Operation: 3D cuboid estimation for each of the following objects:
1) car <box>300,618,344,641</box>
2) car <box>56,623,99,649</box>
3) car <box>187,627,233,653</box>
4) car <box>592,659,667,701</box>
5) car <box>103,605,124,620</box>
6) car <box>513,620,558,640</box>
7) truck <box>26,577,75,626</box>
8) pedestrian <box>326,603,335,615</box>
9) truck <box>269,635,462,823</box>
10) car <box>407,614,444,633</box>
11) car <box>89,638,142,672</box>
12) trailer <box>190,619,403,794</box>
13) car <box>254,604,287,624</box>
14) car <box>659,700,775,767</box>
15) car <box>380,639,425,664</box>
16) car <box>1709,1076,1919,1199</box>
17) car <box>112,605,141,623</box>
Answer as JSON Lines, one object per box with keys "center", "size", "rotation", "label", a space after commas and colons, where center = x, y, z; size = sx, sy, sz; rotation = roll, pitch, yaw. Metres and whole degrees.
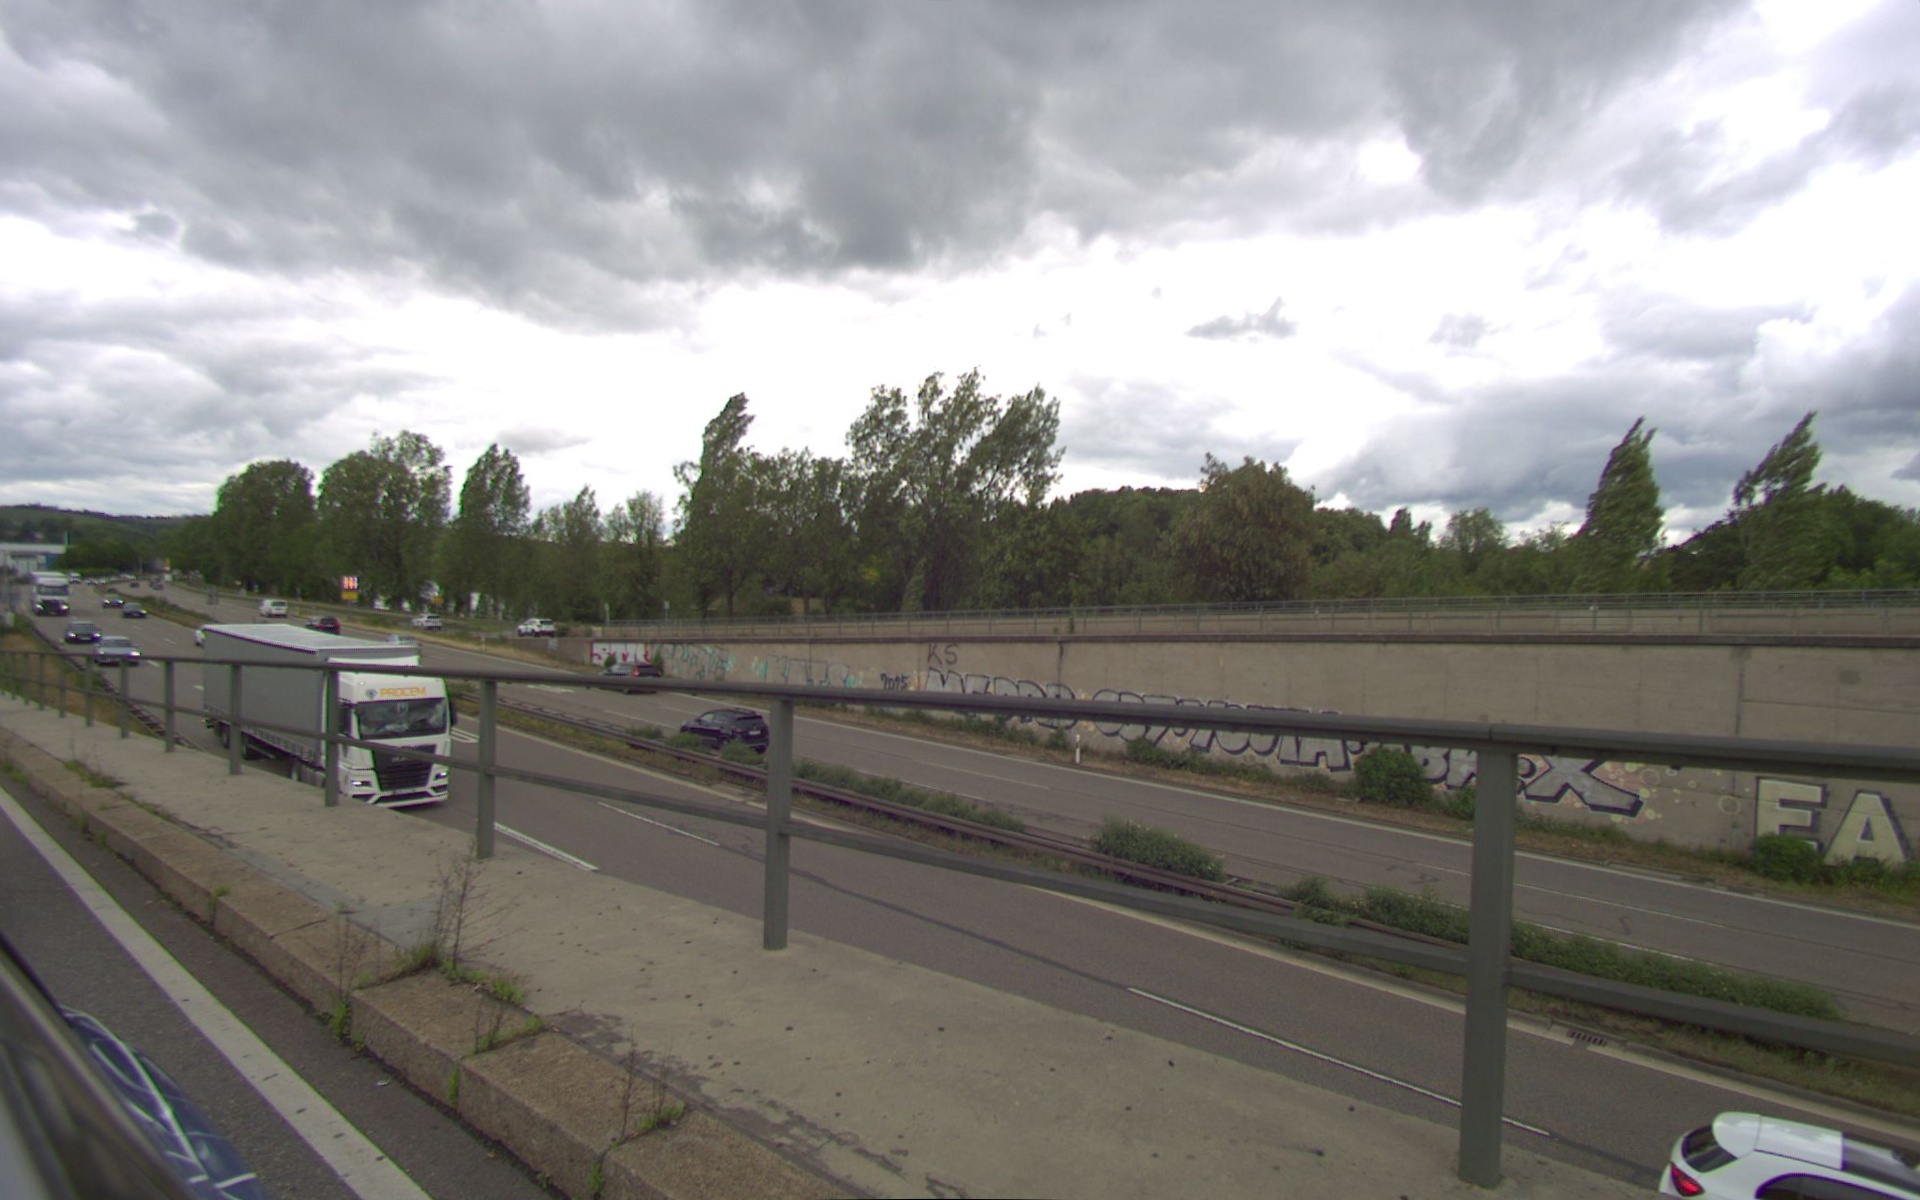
{"center": [-55.251, 2.524, 87.628], "size": [4.550, 1.751, 1.896], "rotation": [2, 0, 40], "label": "car"}
{"center": [-62.601, 2.521, 71.776], "size": [4.166, 1.619, 1.834], "rotation": [2, 1, 43], "label": "car"}
{"center": [-53.705, 2.871, 72.423], "size": [4.166, 1.619, 1.834], "rotation": [2, -2, 43], "label": "car"}
{"center": [-18.176, 4.367, 55.553], "size": [4.408, 1.855, 1.911], "rotation": [2, 1, 41], "label": "car"}
{"center": [-103.060, 1.482, 123.207], "size": [1.832, 1.619, 4.171], "rotation": [1, 1, -42], "label": "car"}
{"center": [-34.975, 2.452, 83.372], "size": [4.346, 1.588, 1.812], "rotation": [-2, -1, 43], "label": "car"}
{"center": [-93.193, 0.053, 103.624], "size": [11.131, 4.559, 3.136], "rotation": [3, 1, 45], "label": "truck"}
{"center": [-92.905, 1.305, 149.345], "size": [1.078, 1.718, 0.820], "rotation": [3, 2, 43], "label": "pedestrian"}
{"center": [-16.715, 3.301, 28.257], "size": [6.699, 4.283, 2.721], "rotation": [2, 0, 43], "label": "truck"}
{"center": [-53.576, 2.370, 101.398], "size": [4.211, 1.884, 1.973], "rotation": [-2, -1, 41], "label": "car"}
{"center": [-49.100, 3.153, 58.803], "size": [4.166, 1.619, 1.834], "rotation": [2, 1, 43], "label": "car"}
{"center": [-22.357, 3.064, 33.532], "size": [13.152, 4.283, 2.721], "rotation": [2, 0, 43], "label": "trailer"}
{"center": [-77.905, 1.517, 114.285], "size": [5.177, 2.082, 1.972], "rotation": [2, 1, 42], "label": "car"}
{"center": [-9.146, 4.944, 37.942], "size": [4.422, 1.855, 1.973], "rotation": [2, 0, 41], "label": "car"}
{"center": [-39.941, 3.654, 72.478], "size": [4.089, 1.539, 1.709], "rotation": [2, 0, 45], "label": "car"}
{"center": [9.024, 5.815, 8.588], "size": [4.272, 1.429, 1.897], "rotation": [3, 2, 39], "label": "car"}
{"center": [-84.483, 1.413, 102.582], "size": [4.168, 1.619, 1.833], "rotation": [2, -2, 45], "label": "car"}
